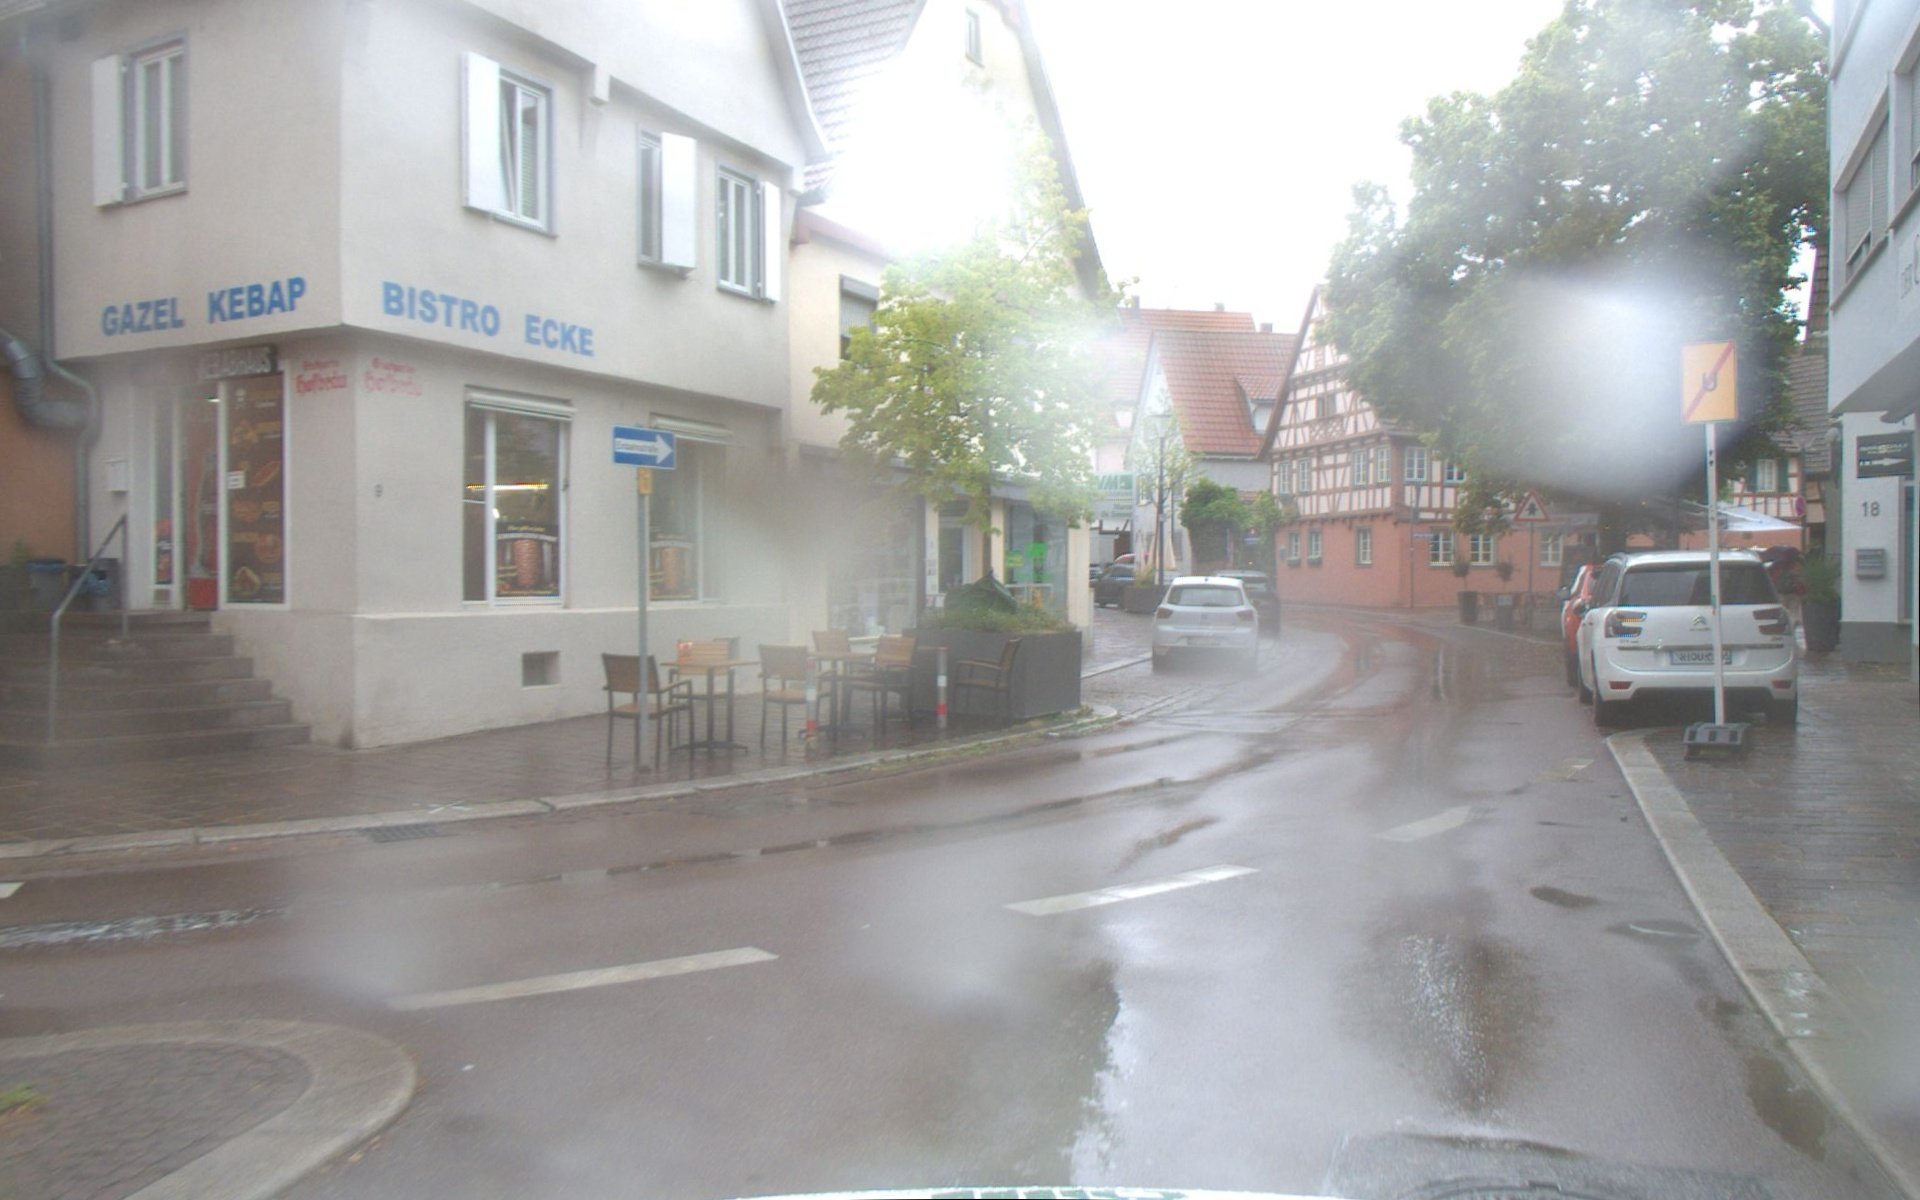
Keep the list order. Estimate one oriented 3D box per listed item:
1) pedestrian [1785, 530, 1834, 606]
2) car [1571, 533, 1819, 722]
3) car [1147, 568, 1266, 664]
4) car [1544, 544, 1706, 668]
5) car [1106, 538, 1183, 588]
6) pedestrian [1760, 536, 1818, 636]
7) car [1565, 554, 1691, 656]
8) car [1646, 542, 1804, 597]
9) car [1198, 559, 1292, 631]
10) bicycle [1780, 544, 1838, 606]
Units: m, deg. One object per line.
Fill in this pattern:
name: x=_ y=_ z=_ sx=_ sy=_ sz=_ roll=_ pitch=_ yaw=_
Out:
pedestrian: x=19.954 y=-0.739 z=38.840 sx=0.894 sy=1.728 sz=0.859 roll=-2 pitch=-1 yaw=35
car: x=7.361 y=0.259 z=16.975 sx=1.750 sy=1.668 sz=4.442 roll=0 pitch=-1 yaw=16
car: x=4.177 y=0.220 z=27.591 sx=1.809 sy=1.477 sz=4.076 roll=0 pitch=1 yaw=10
car: x=8.777 y=0.090 z=22.102 sx=1.750 sy=1.494 sz=3.951 roll=0 pitch=-1 yaw=18
car: x=7.165 y=-1.453 z=64.490 sx=1.860 sy=1.843 sz=3.991 roll=2 pitch=2 yaw=-11
pedestrian: x=14.799 y=-0.242 z=29.518 sx=0.868 sy=1.743 sz=0.887 roll=0 pitch=-1 yaw=31
car: x=11.113 y=0.055 z=27.726 sx=1.750 sy=1.582 sz=3.951 roll=-1 pitch=1 yaw=19
car: x=25.369 y=-1.047 z=54.897 sx=4.523 sy=1.661 sz=1.993 roll=-2 pitch=3 yaw=-15
car: x=6.591 y=-0.086 z=38.613 sx=1.835 sy=1.567 sz=4.403 roll=1 pitch=0 yaw=5
bicycle: x=19.915 y=-0.589 z=38.776 sx=0.909 sy=1.374 sz=2.208 roll=-2 pitch=0 yaw=35
